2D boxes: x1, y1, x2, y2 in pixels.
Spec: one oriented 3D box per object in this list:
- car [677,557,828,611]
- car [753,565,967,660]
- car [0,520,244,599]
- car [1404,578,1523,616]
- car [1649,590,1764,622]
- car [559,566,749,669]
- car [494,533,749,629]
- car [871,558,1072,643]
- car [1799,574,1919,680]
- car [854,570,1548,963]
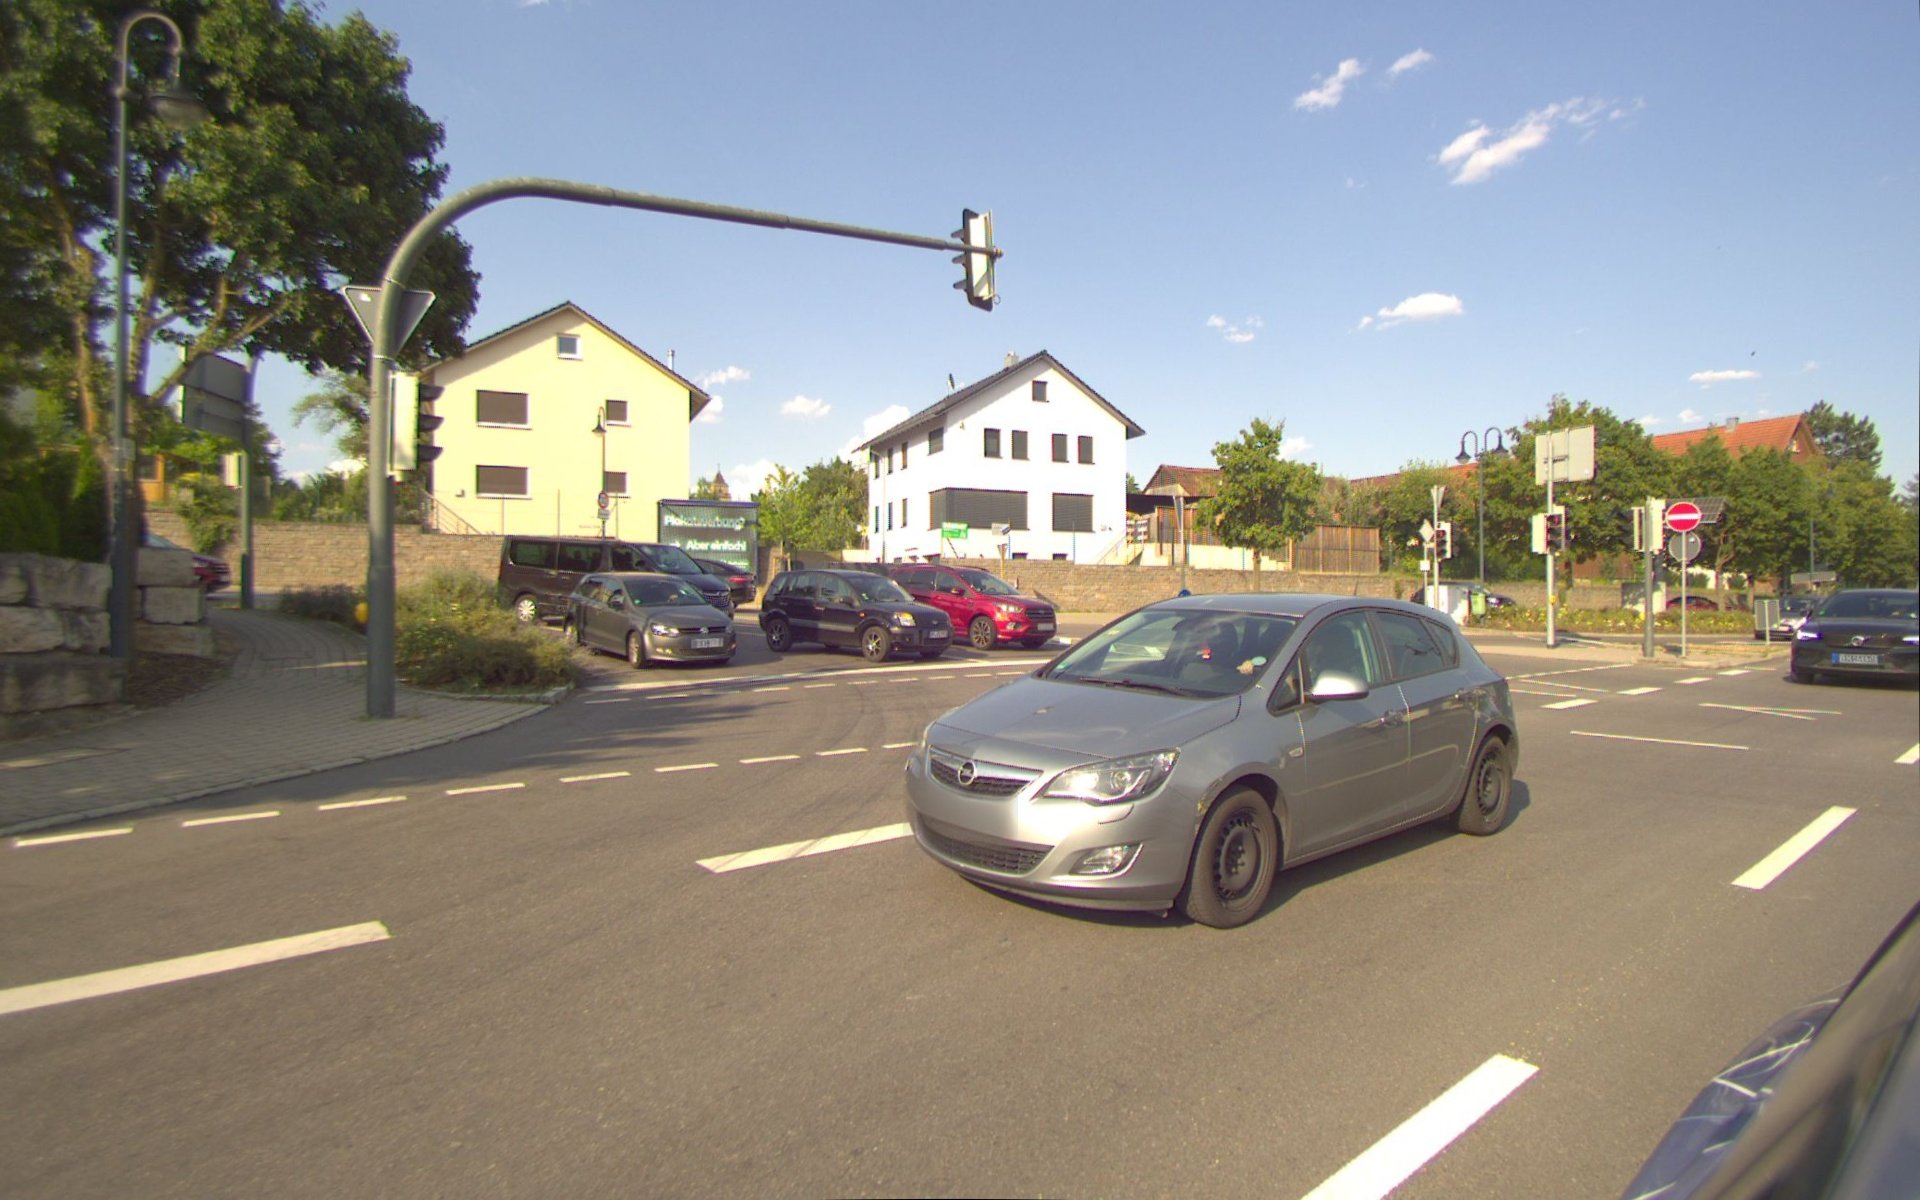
[{"bbox_3d":[-6.339,-0.481,31.172,4.402,1.586,1.848,0,0,-10],"label":"car"},{"bbox_3d":[-1.863,0.158,18.274,3.776,1.561,1.578,1,1,36],"label":"car"},{"bbox_3d":[-18.998,-0.870,23.069,3.916,1.664,2.004,0,0,-14],"label":"car"},{"bbox_3d":[20.155,-0.135,40.672,1.644,1.474,4.085,0,0,-28],"label":"car"},{"bbox_3d":[35.079,0.262,47.655,1.714,1.449,4.002,0,0,-32],"label":"car"},{"bbox_3d":[-5.169,0.205,16.860,1.600,1.467,3.602,-1,3,-44],"label":"car"},{"bbox_3d":[-7.411,-0.440,22.237,5.106,1.956,1.990,1,1,16],"label":"car"},{"bbox_3d":[0.173,-0.015,21.707,4.240,1.646,1.832,1,0,44],"label":"car"},{"bbox_3d":[15.902,0.416,17.267,3.985,1.625,1.791,0,1,-41],"label":"car"},{"bbox_3d":[1.574,0.614,5.699,4.069,1.440,1.652,0,2,-39],"label":"car"}]
